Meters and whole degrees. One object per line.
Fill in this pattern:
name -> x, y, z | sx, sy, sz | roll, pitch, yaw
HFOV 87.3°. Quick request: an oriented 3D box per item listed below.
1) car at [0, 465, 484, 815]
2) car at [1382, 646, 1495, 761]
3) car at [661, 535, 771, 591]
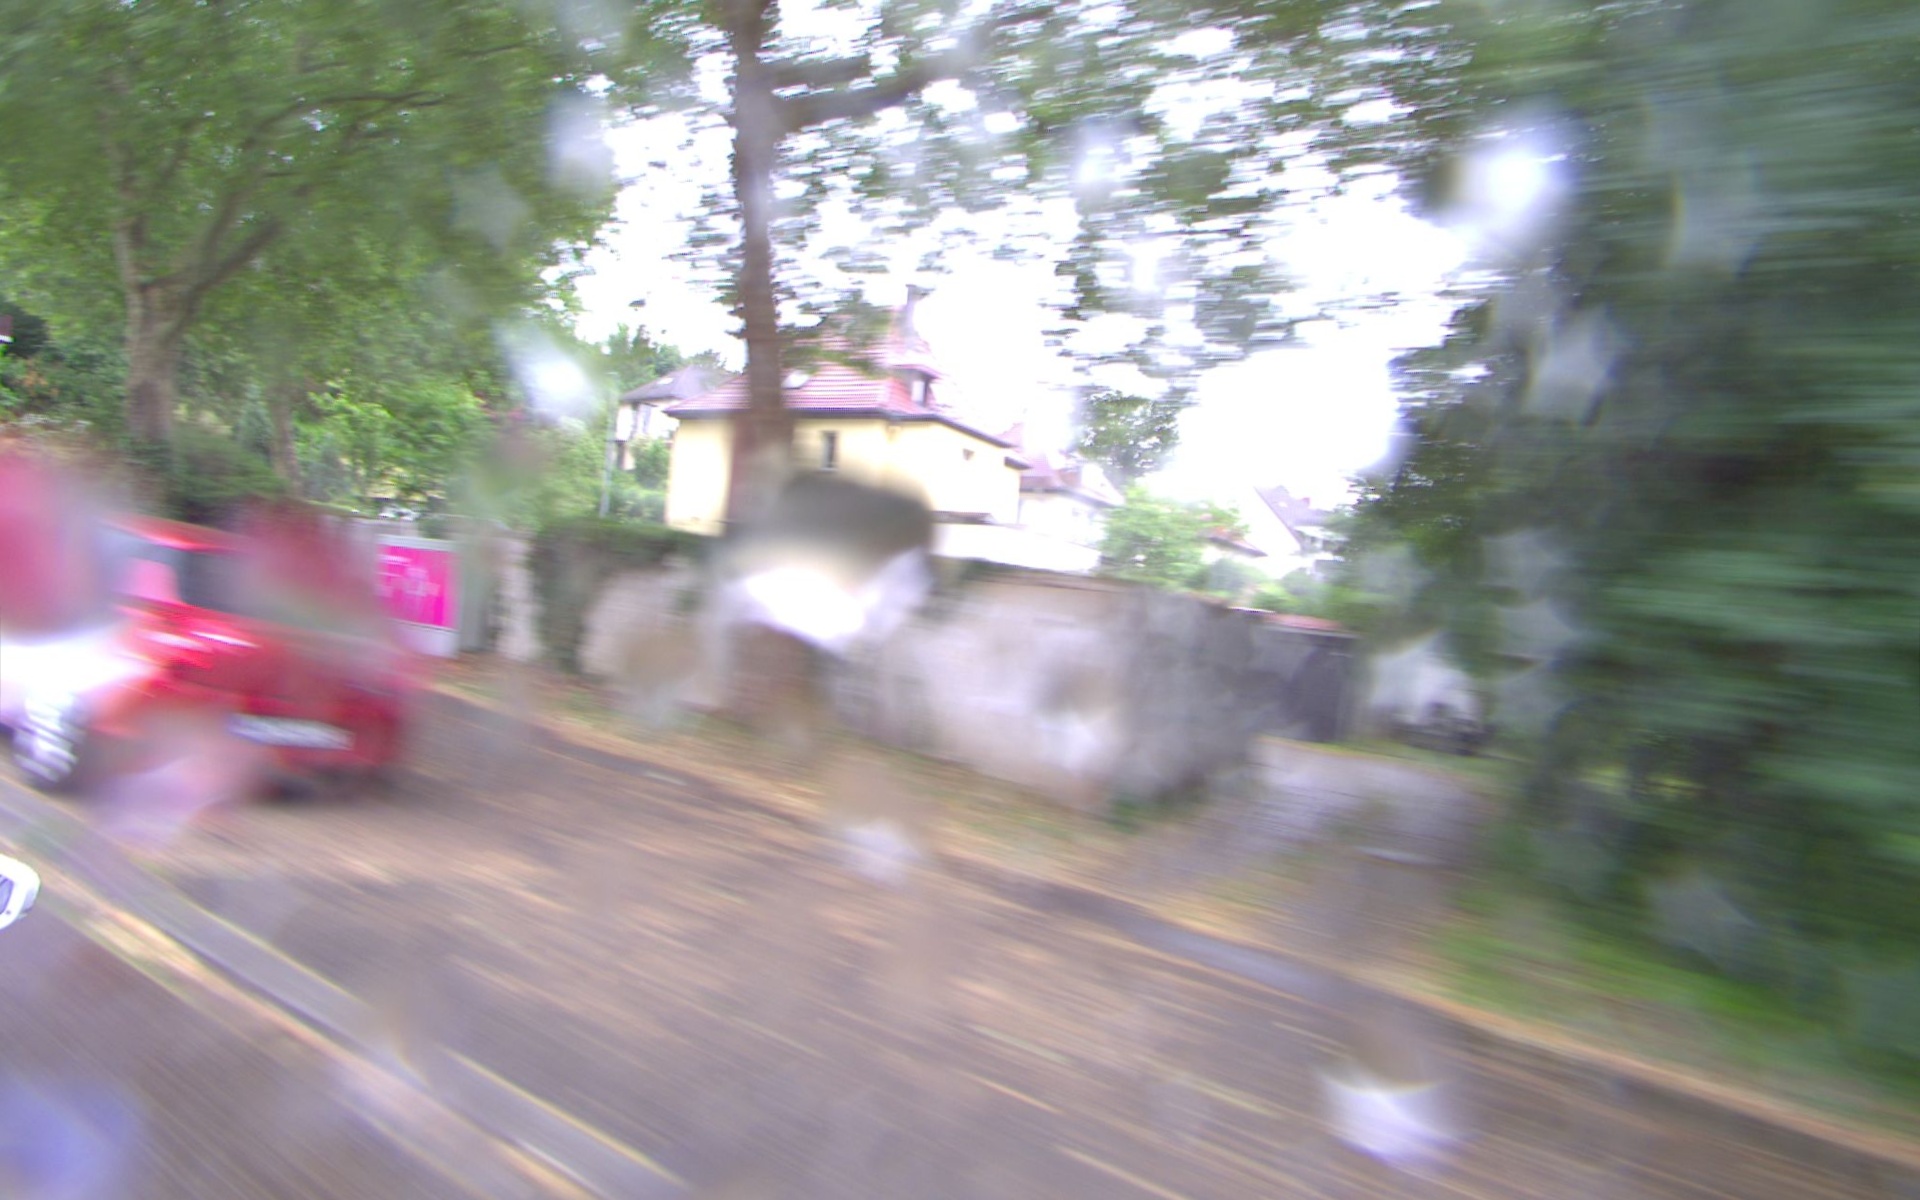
car -> -5.153, 0.151, 6.391 | 3.678, 1.531, 1.828 | 9, -5, 29
car -> 10.674, 2.224, 22.262 | 1.747, 2.064, 4.693 | 6, -1, 30
car -> -8.007, -1.217, 32.895 | 3.374, 1.491, 1.487 | 6, 1, 32
